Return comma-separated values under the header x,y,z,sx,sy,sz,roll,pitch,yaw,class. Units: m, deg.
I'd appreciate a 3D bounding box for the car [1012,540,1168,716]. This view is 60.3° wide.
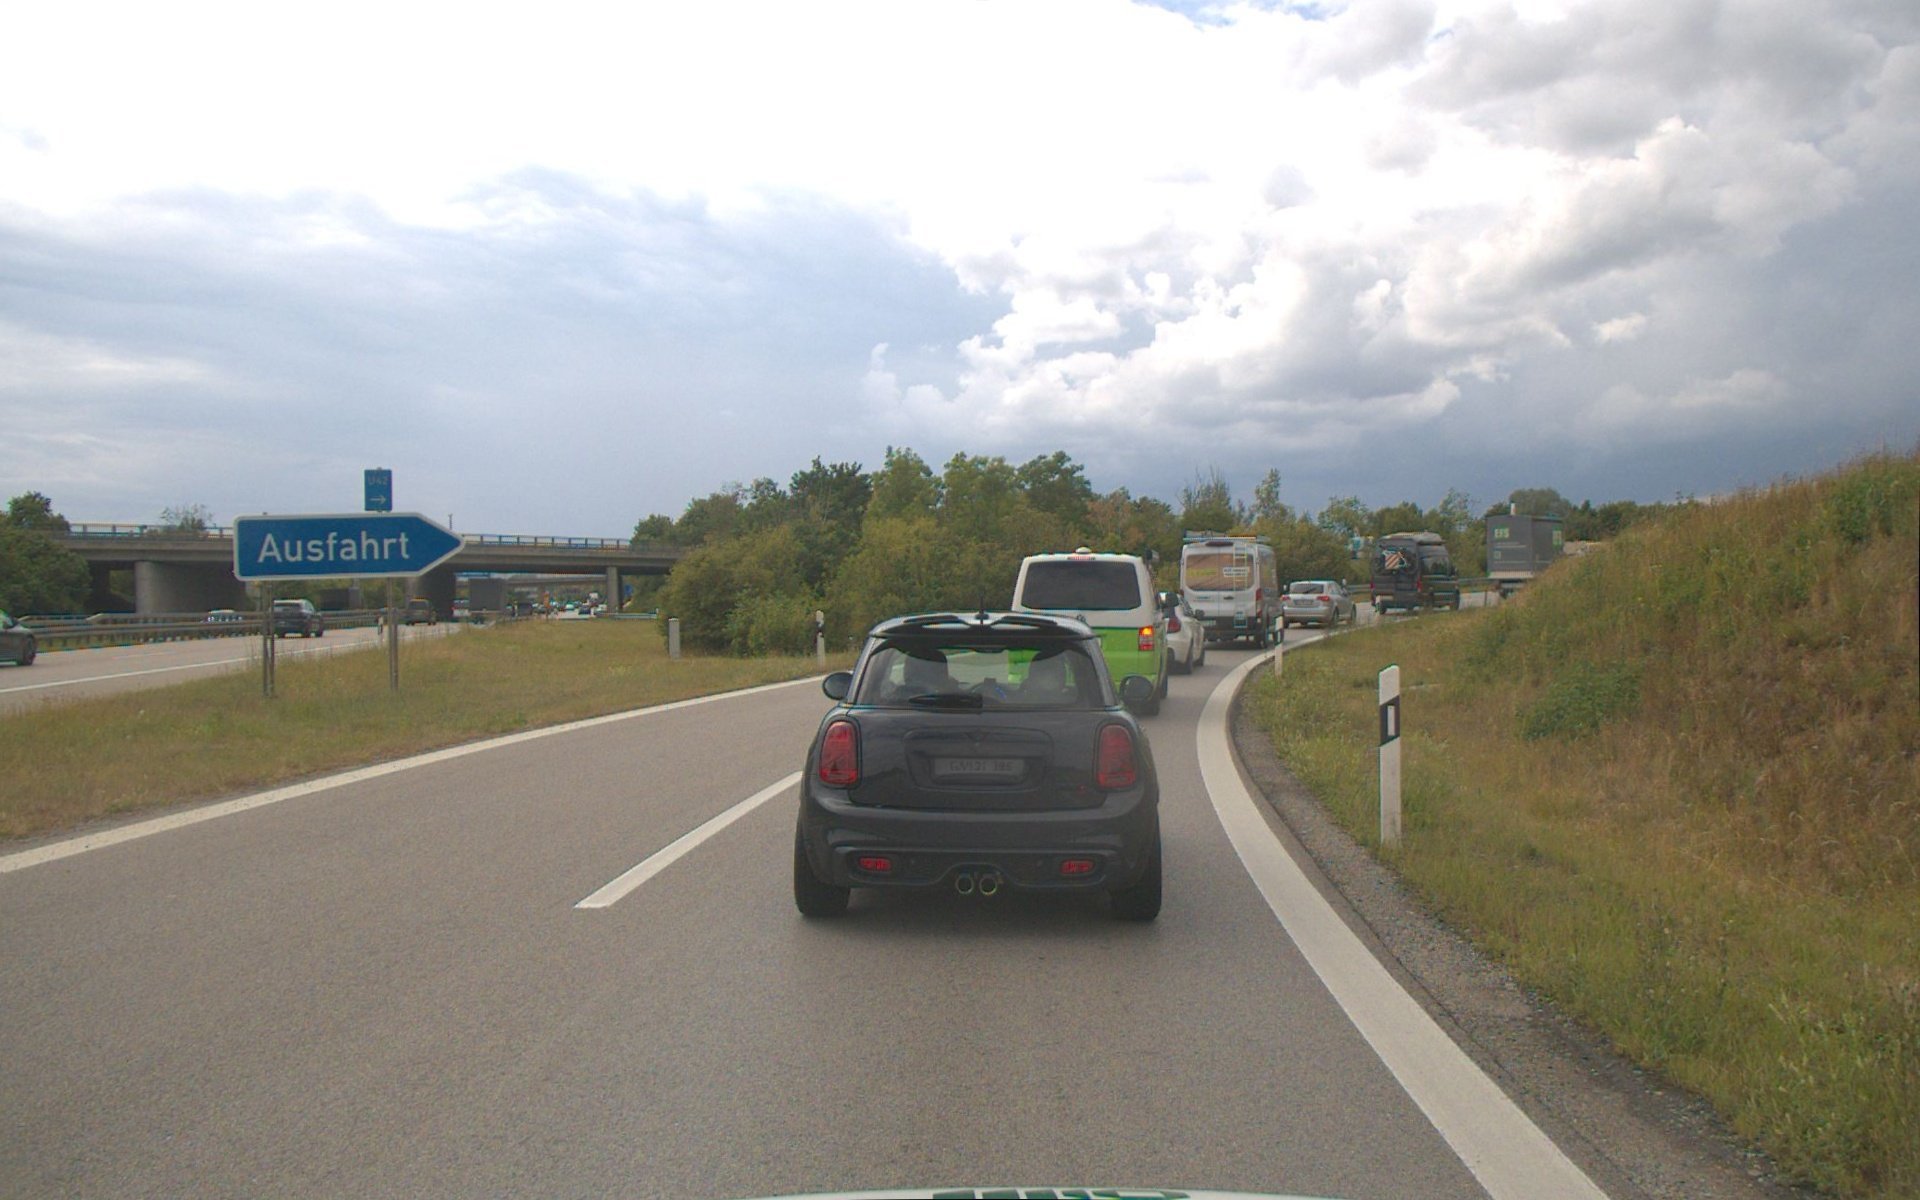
x,y,z,sx,sy,sz,roll,pitch,yaw,class
1.759,0.326,21.313,1.746,2.049,4.003,0,0,8,car

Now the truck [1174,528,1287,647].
x,y,z,sx,sy,sz,roll,pitch,yaw,class
6.665,-0.313,40.353,2.132,2.705,5.112,0,1,16,truck

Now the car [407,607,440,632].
x,y,z,sx,sy,sz,roll,pitch,yaw,class
-38.768,1.392,119.578,1.812,1.789,4.323,-1,0,-12,car

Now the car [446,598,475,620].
x,y,z,sx,sy,sz,roll,pitch,yaw,class
-42.520,0.762,140.781,1.958,1.842,3.989,-1,0,-11,car

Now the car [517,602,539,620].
x,y,z,sx,sy,sz,roll,pitch,yaw,class
-44.424,1.097,170.173,1.842,1.782,4.475,-1,0,-10,car

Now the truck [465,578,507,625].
x,y,z,sx,sy,sz,roll,pitch,yaw,class
-36.494,0.167,127.520,2.424,3.430,7.900,-1,0,-11,truck

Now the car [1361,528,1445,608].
x,y,z,sx,sy,sz,roll,pitch,yaw,class
16.328,-1.143,60.838,2.065,2.845,3.994,1,0,28,car

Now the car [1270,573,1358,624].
x,y,z,sx,sy,sz,roll,pitch,yaw,class
11.074,-0.042,51.577,1.829,1.536,3.997,0,0,25,car

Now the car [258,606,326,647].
x,y,z,sx,sy,sz,roll,pitch,yaw,class
-30.332,1.177,75.192,1.958,1.774,4.815,-1,0,-11,car

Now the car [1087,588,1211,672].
x,y,z,sx,sy,sz,roll,pitch,yaw,class
3.509,0.523,30.208,1.725,1.423,3.728,-1,0,15,car

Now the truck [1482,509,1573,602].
x,y,z,sx,sy,sz,roll,pitch,yaw,class
26.216,-1.976,76.223,2.192,3.975,5.989,0,-1,37,truck

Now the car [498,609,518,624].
x,y,z,sx,sy,sz,roll,pitch,yaw,class
-56.259,2.057,205.913,1.958,1.817,5.397,-1,0,-11,car

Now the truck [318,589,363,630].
x,y,z,sx,sy,sz,roll,pitch,yaw,class
-59.291,0.900,158.500,2.710,3.710,8.174,-1,0,-11,truck

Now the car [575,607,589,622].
x,y,z,sx,sy,sz,roll,pitch,yaw,class
-53.906,2.097,236.036,1.959,2.049,3.987,1,-1,-13,car

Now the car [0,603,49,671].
x,y,z,sx,sy,sz,roll,pitch,yaw,class
-22.833,0.862,37.967,1.958,1.536,4.765,-1,0,-11,car

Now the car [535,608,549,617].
x,y,z,sx,sy,sz,roll,pitch,yaw,class
-63.602,1.895,251.769,1.691,1.449,4.784,-1,0,-11,car

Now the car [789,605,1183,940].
x,y,z,sx,sy,sz,roll,pitch,yaw,class
0.108,0.751,9.002,1.692,1.438,3.725,0,0,0,car
